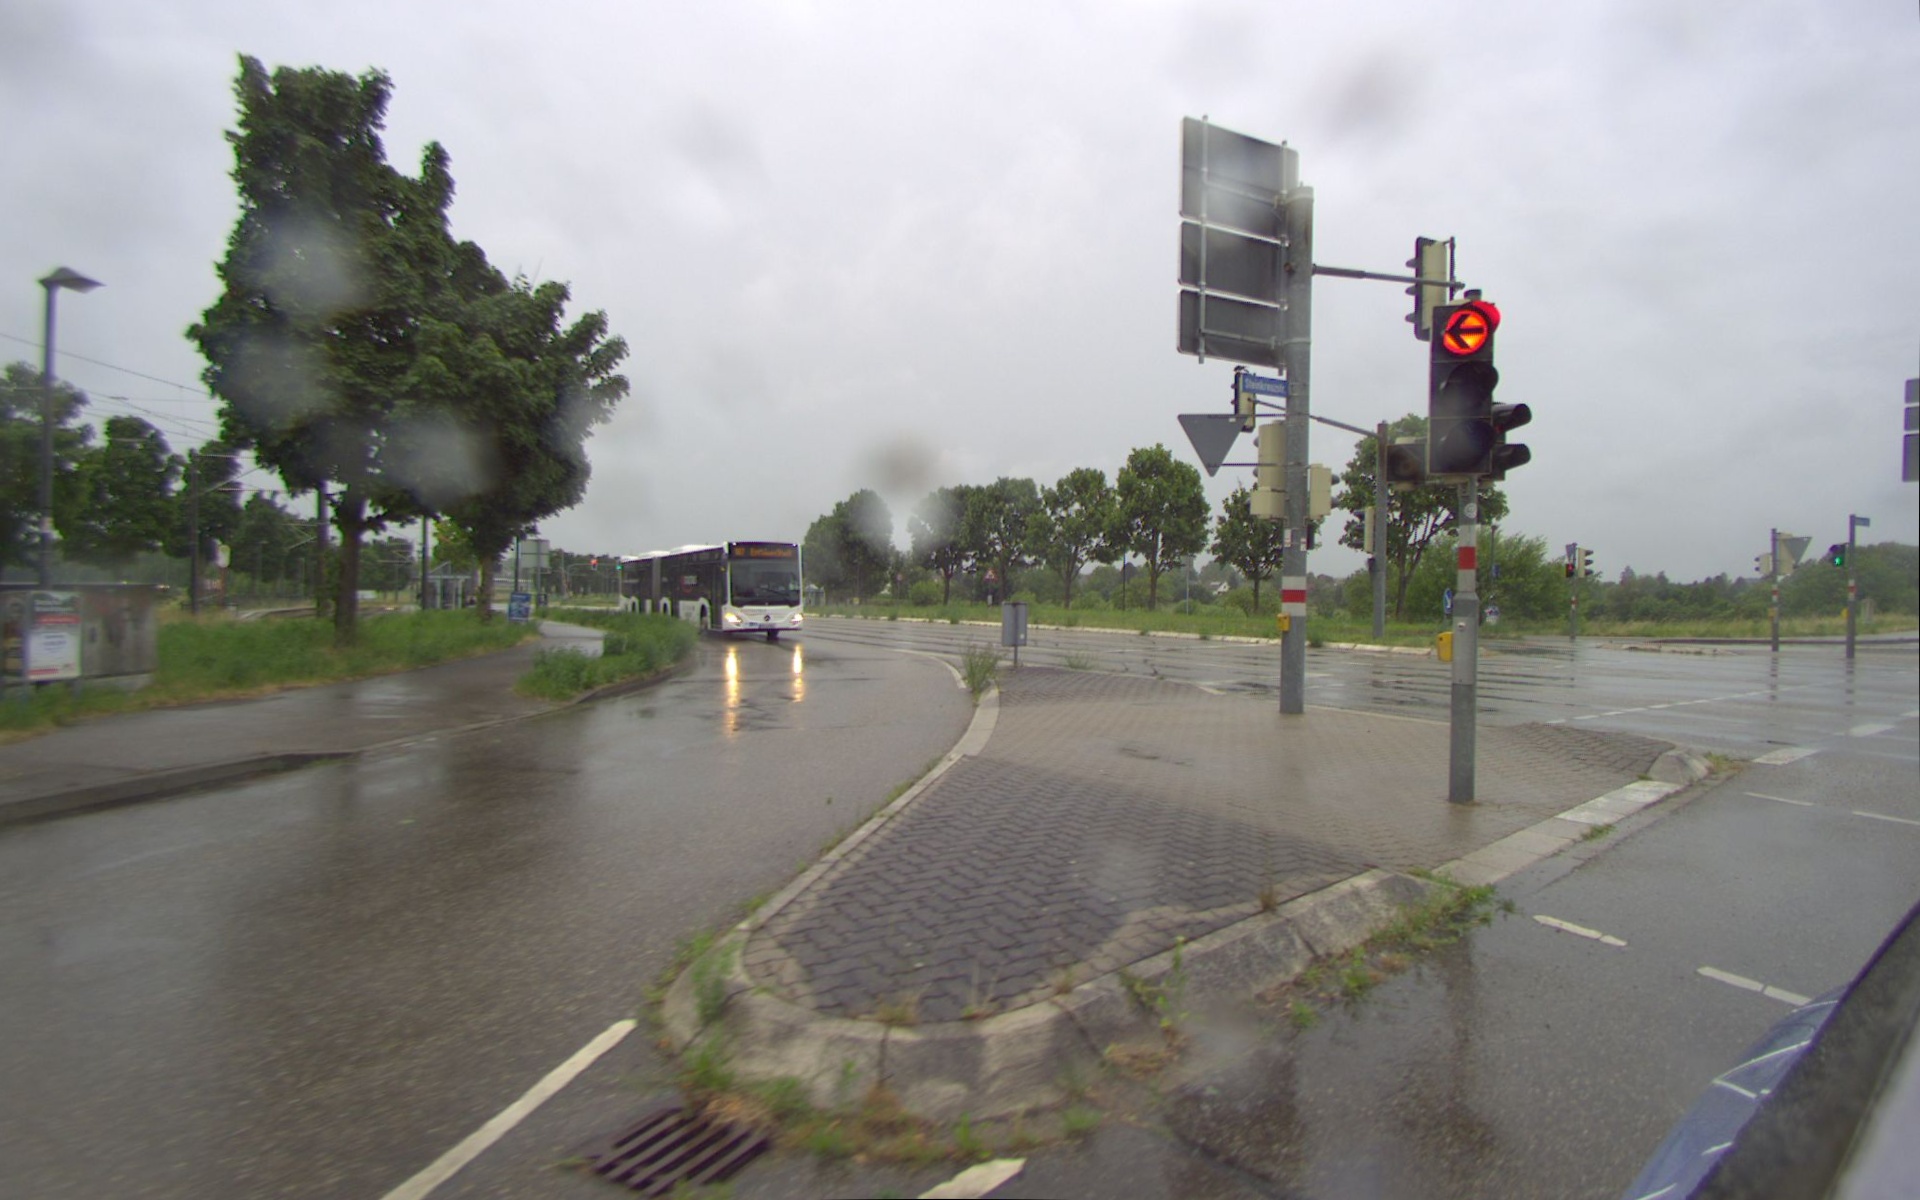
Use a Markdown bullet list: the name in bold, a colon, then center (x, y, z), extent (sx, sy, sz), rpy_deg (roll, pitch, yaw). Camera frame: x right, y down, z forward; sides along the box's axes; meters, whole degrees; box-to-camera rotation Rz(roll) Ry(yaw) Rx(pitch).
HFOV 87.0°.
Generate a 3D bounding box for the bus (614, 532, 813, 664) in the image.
- **bus**: center (-10.023, -0.249, 38.149), extent (2.700, 3.831, 18.466), rpy_deg (1, 1, -28)
